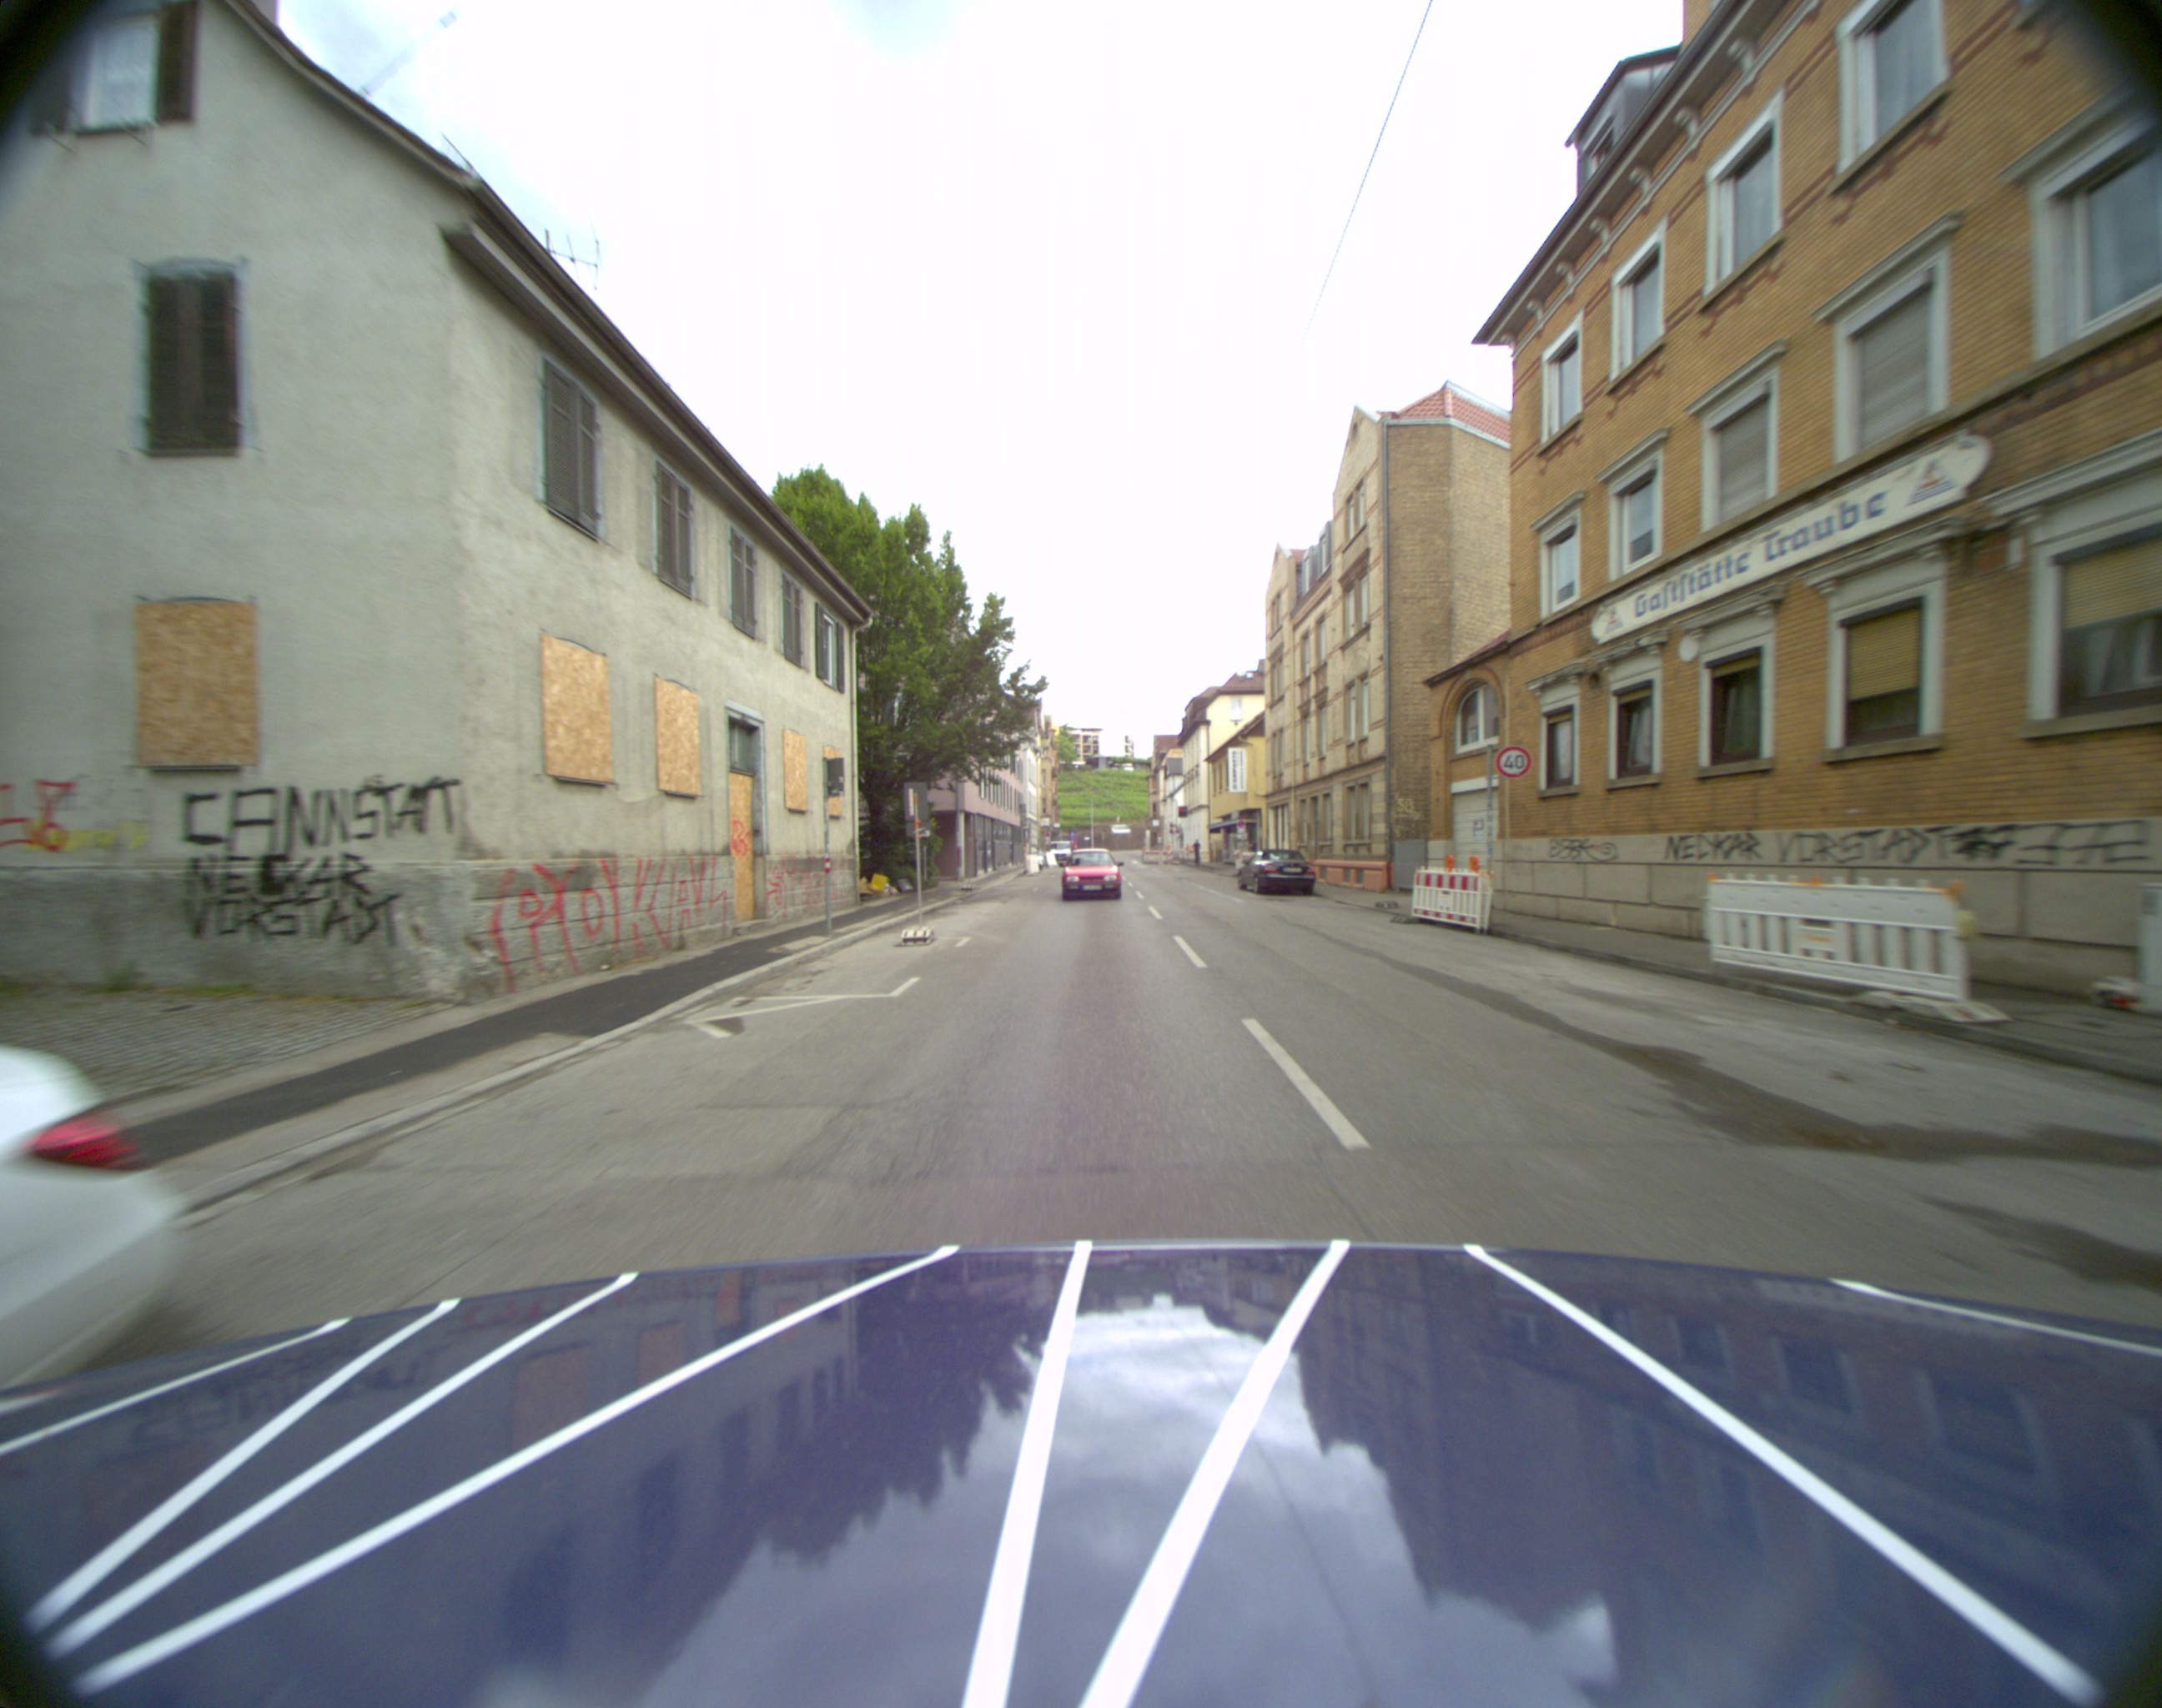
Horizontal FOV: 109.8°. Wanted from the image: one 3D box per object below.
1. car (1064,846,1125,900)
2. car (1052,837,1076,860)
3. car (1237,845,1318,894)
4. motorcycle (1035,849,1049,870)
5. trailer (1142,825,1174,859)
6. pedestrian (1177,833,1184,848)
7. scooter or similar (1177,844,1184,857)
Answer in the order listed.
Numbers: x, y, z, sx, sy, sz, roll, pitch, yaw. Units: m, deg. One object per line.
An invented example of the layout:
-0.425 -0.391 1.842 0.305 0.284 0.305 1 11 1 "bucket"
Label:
0.453 0.498 22.490 1.626 1.387 4.000 -1 1 3 "car"
-1.517 -0.540 70.255 1.998 1.970 4.877 -1 1 0 "car"
6.184 0.436 24.362 1.582 1.375 4.354 1 1 2 "car"
-2.466 0.343 48.302 0.648 1.219 2.337 -2 1 1 "motorcycle"
6.649 -1.098 66.423 2.450 2.788 6.302 1 1 3 "trailer"
10.154 -1.366 77.816 0.602 1.557 0.607 -2 2 1 "pedestrian"
10.182 -0.365 77.800 0.561 1.283 1.227 -2 2 1 "scooter or similar"
